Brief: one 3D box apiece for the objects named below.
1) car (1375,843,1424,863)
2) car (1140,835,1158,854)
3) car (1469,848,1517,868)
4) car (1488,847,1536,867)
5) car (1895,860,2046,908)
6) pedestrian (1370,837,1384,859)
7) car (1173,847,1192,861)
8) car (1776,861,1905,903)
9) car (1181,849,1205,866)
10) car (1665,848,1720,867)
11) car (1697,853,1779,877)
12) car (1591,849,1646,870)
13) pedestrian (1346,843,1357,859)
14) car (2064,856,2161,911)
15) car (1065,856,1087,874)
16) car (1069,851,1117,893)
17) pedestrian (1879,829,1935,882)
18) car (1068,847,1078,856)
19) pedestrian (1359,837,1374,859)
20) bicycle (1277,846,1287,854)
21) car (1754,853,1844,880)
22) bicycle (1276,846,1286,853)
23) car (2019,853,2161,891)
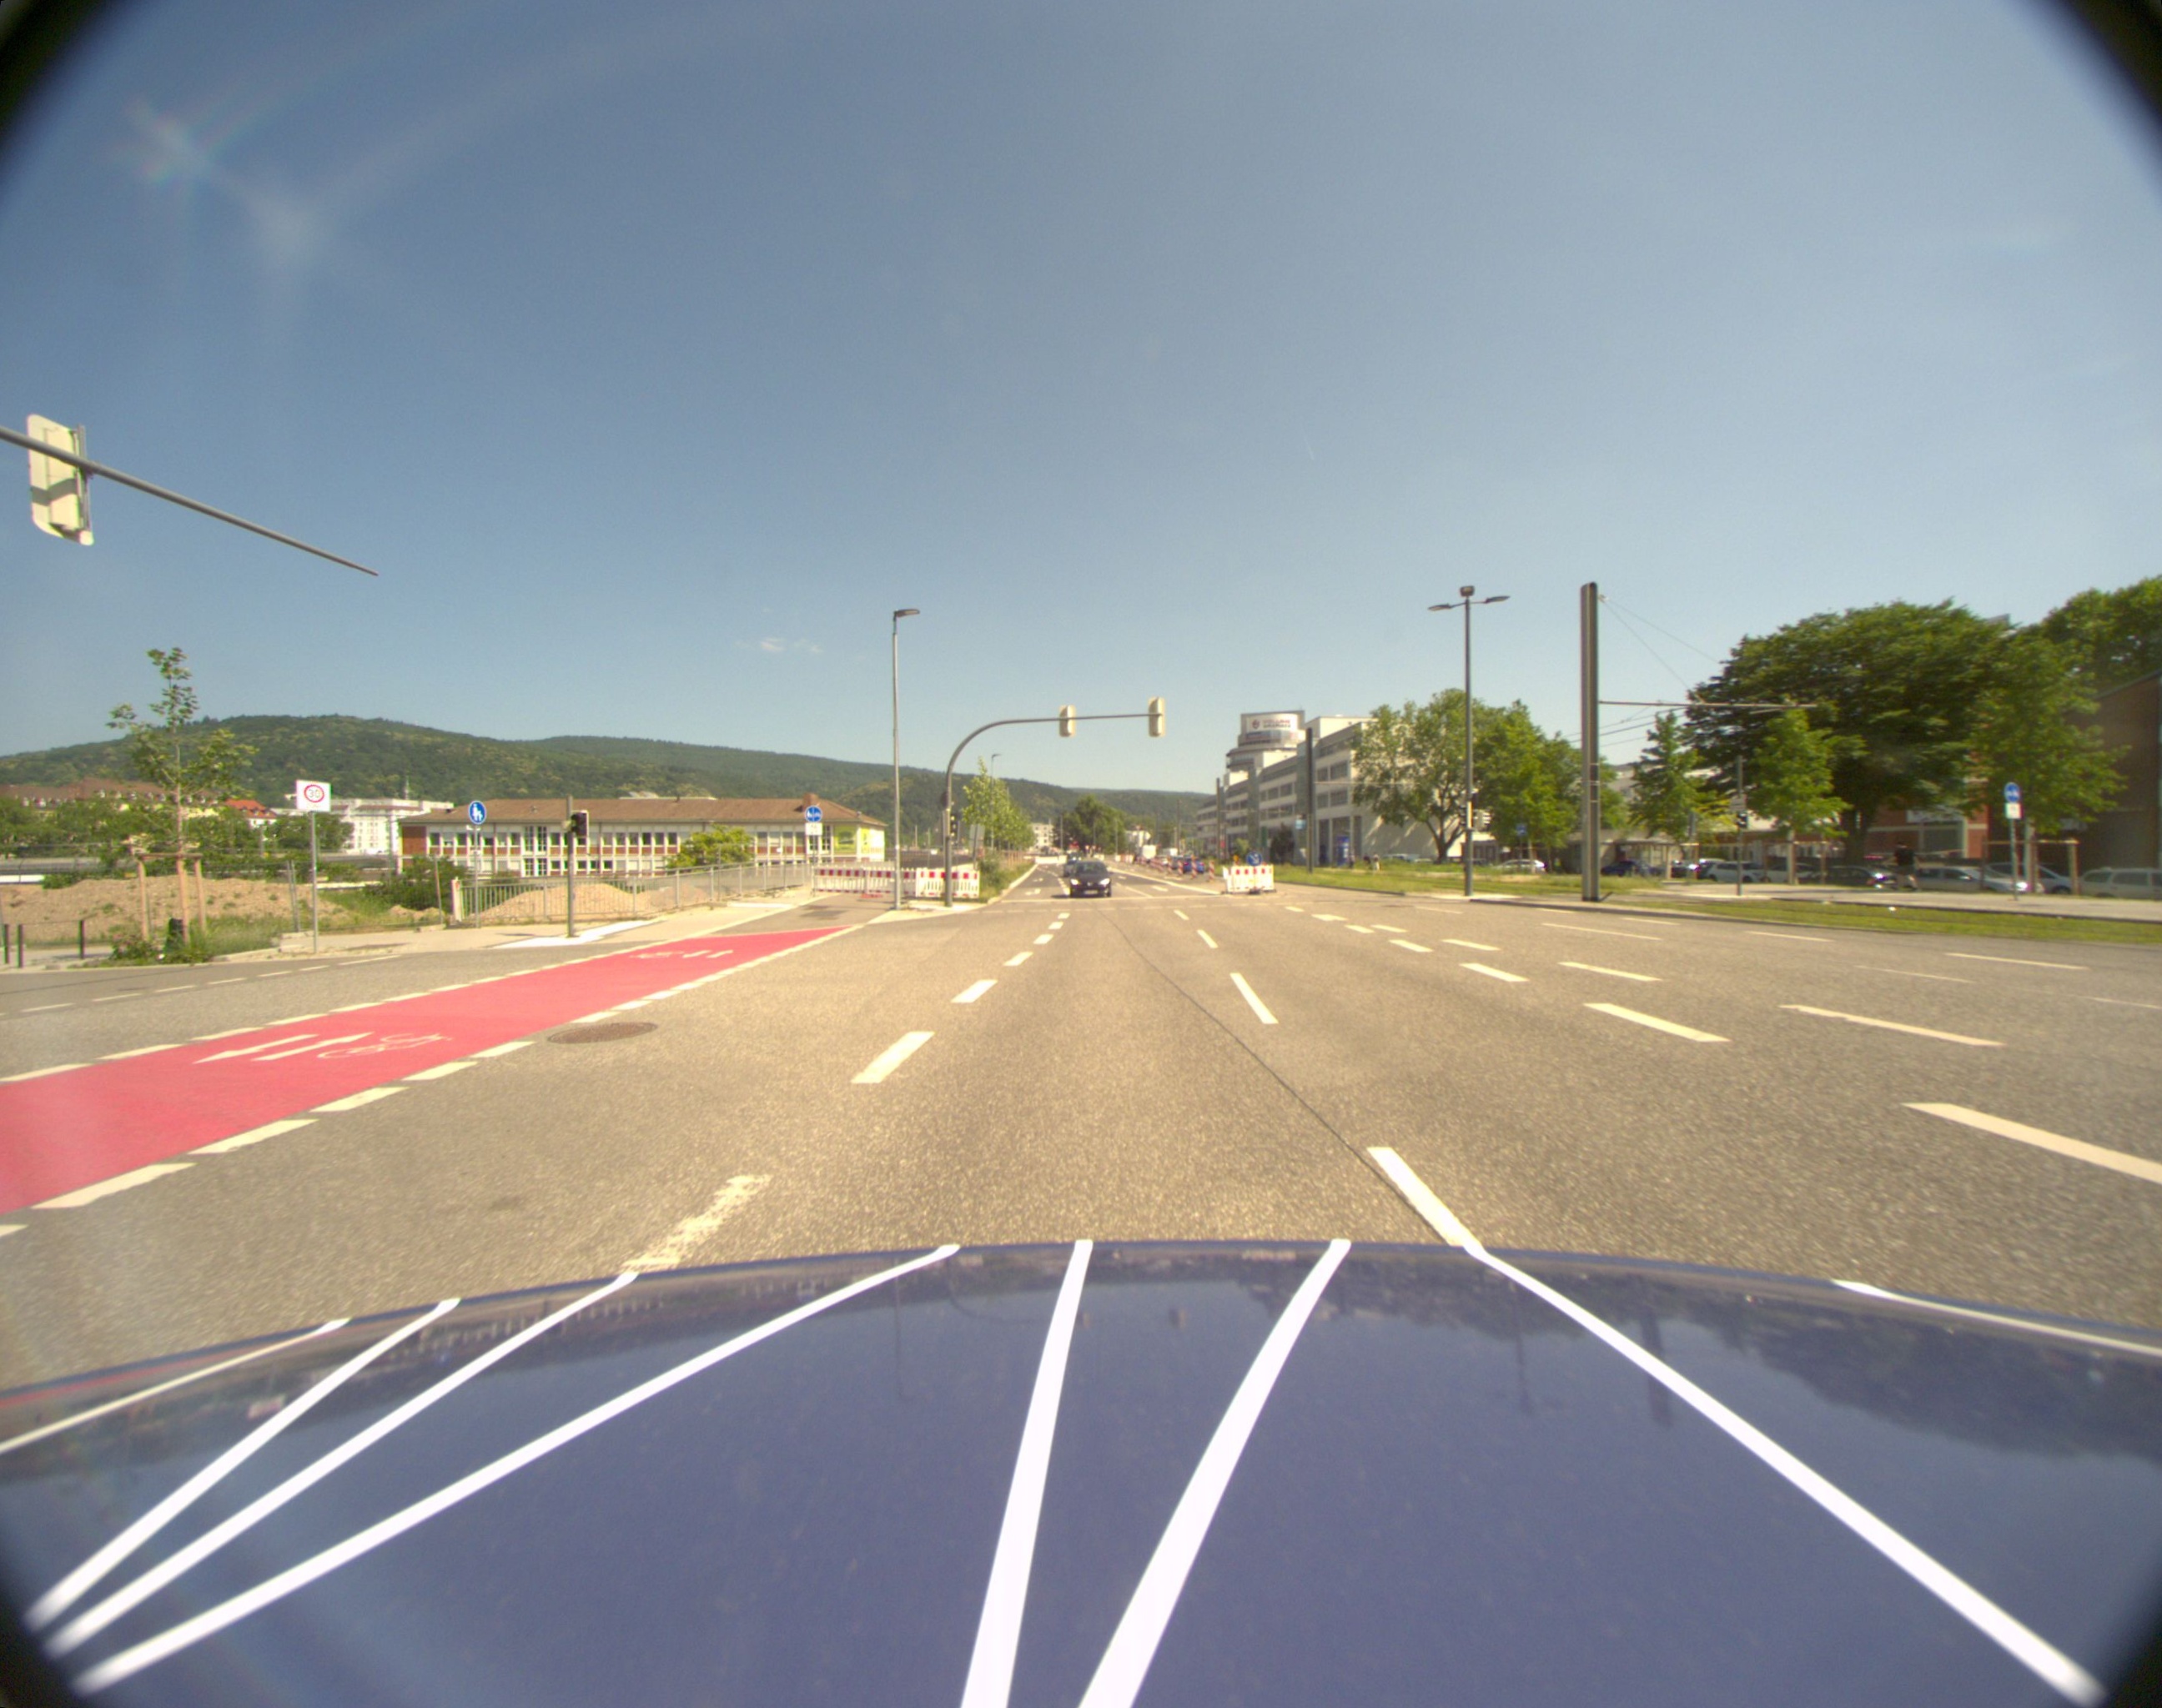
[{"bbox_3d":[36.294,-0.120,86.505,5.063,2.167,2.117,0,1,25],"label":"car"},{"bbox_3d":[10.220,-1.484,114.645,2.083,2.724,5.984,1,1,-1],"label":"car"},{"bbox_3d":[34.951,0.307,64.516,1.773,1.581,3.635,-3,1,-7],"label":"car"},{"bbox_3d":[37.250,0.232,65.797,1.773,1.581,3.635,-3,1,-7],"label":"car"},{"bbox_3d":[37.217,1.196,31.960,1.702,1.751,3.938,-1,2,-1],"label":"car"},{"bbox_3d":[27.421,-0.578,70.359,0.841,2.002,0.983,-2,1,1],"label":"pedestrian"},{"bbox_3d":[10.559,0.005,79.474,1.584,1.408,4.296,0,1,2],"label":"car"},{"bbox_3d":[37.061,1.311,37.277,1.702,1.751,4.528,-1,2,-2],"label":"car"},{"bbox_3d":[9.471,0.274,64.388,1.632,1.419,4.290,0,1,3],"label":"car"},{"bbox_3d":[49.163,0.237,61.142,1.541,1.444,3.344,-3,1,-4],"label":"car"},{"bbox_3d":[42.959,0.666,49.808,1.542,1.449,4.266,-1,0,-2],"label":"car"},{"bbox_3d":[44.805,0.448,63.402,1.773,1.581,3.635,-3,1,-7],"label":"car"},{"bbox_3d":[27.201,-0.267,76.336,0.816,1.567,0.826,-2,1,3],"label":"pedestrian"},{"bbox_3d":[37.472,1.021,26.119,1.702,1.751,4.299,-1,2,-2],"label":"car"},{"bbox_3d":[-0.400,0.865,61.477,1.619,1.433,3.766,0,1,-3],"label":"car"},{"bbox_3d":[0.412,0.664,29.527,1.619,1.433,3.705,-1,1,-3],"label":"car"},{"bbox_3d":[29.482,0.037,27.146,0.813,1.836,1.107,-1,1,4],"label":"pedestrian"},{"bbox_3d":[-1.387,-0.457,126.406,1.618,1.433,3.766,-2,2,-1],"label":"car"},{"bbox_3d":[26.440,-0.566,70.464,0.985,2.002,0.910,-2,1,1],"label":"pedestrian"},{"bbox_3d":[33.784,-0.662,127.779,1.651,1.182,0.438,-2,1,-1],"label":"bicycle"},{"bbox_3d":[42.079,0.686,44.639,1.543,1.449,3.785,-1,1,-6],"label":"car"},{"bbox_3d":[34.241,-0.742,130.050,1.650,1.182,0.438,-2,1,4],"label":"bicycle"},{"bbox_3d":[42.884,0.721,32.184,1.542,1.449,3.786,-1,1,-2],"label":"car"}]
